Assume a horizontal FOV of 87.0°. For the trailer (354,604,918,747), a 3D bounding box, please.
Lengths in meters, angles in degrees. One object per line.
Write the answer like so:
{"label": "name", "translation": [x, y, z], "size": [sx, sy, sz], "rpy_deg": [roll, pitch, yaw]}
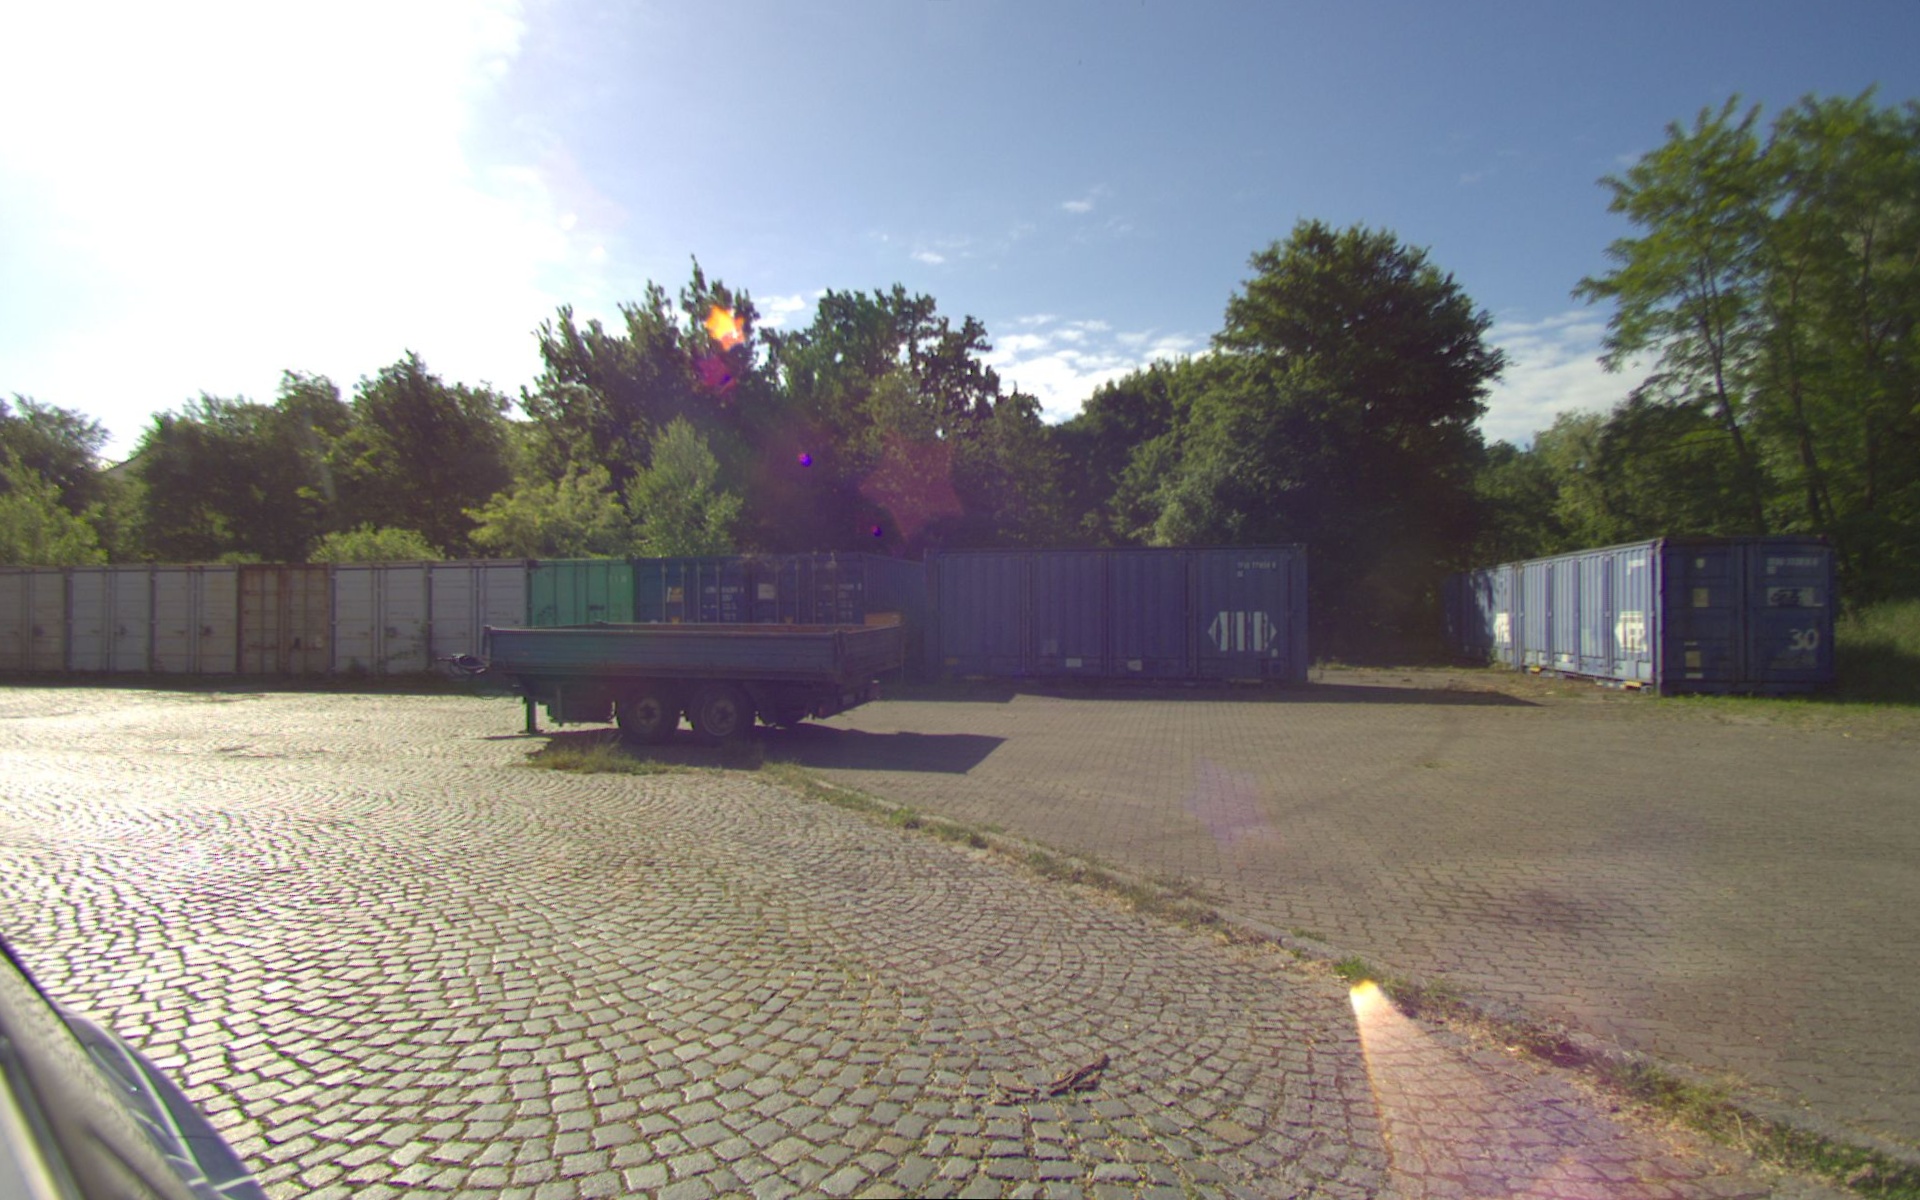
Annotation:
{"label": "trailer", "translation": [-4.009, 0.882, 13.098], "size": [6.428, 1.529, 2.844], "rpy_deg": [-1, 0, 13]}
